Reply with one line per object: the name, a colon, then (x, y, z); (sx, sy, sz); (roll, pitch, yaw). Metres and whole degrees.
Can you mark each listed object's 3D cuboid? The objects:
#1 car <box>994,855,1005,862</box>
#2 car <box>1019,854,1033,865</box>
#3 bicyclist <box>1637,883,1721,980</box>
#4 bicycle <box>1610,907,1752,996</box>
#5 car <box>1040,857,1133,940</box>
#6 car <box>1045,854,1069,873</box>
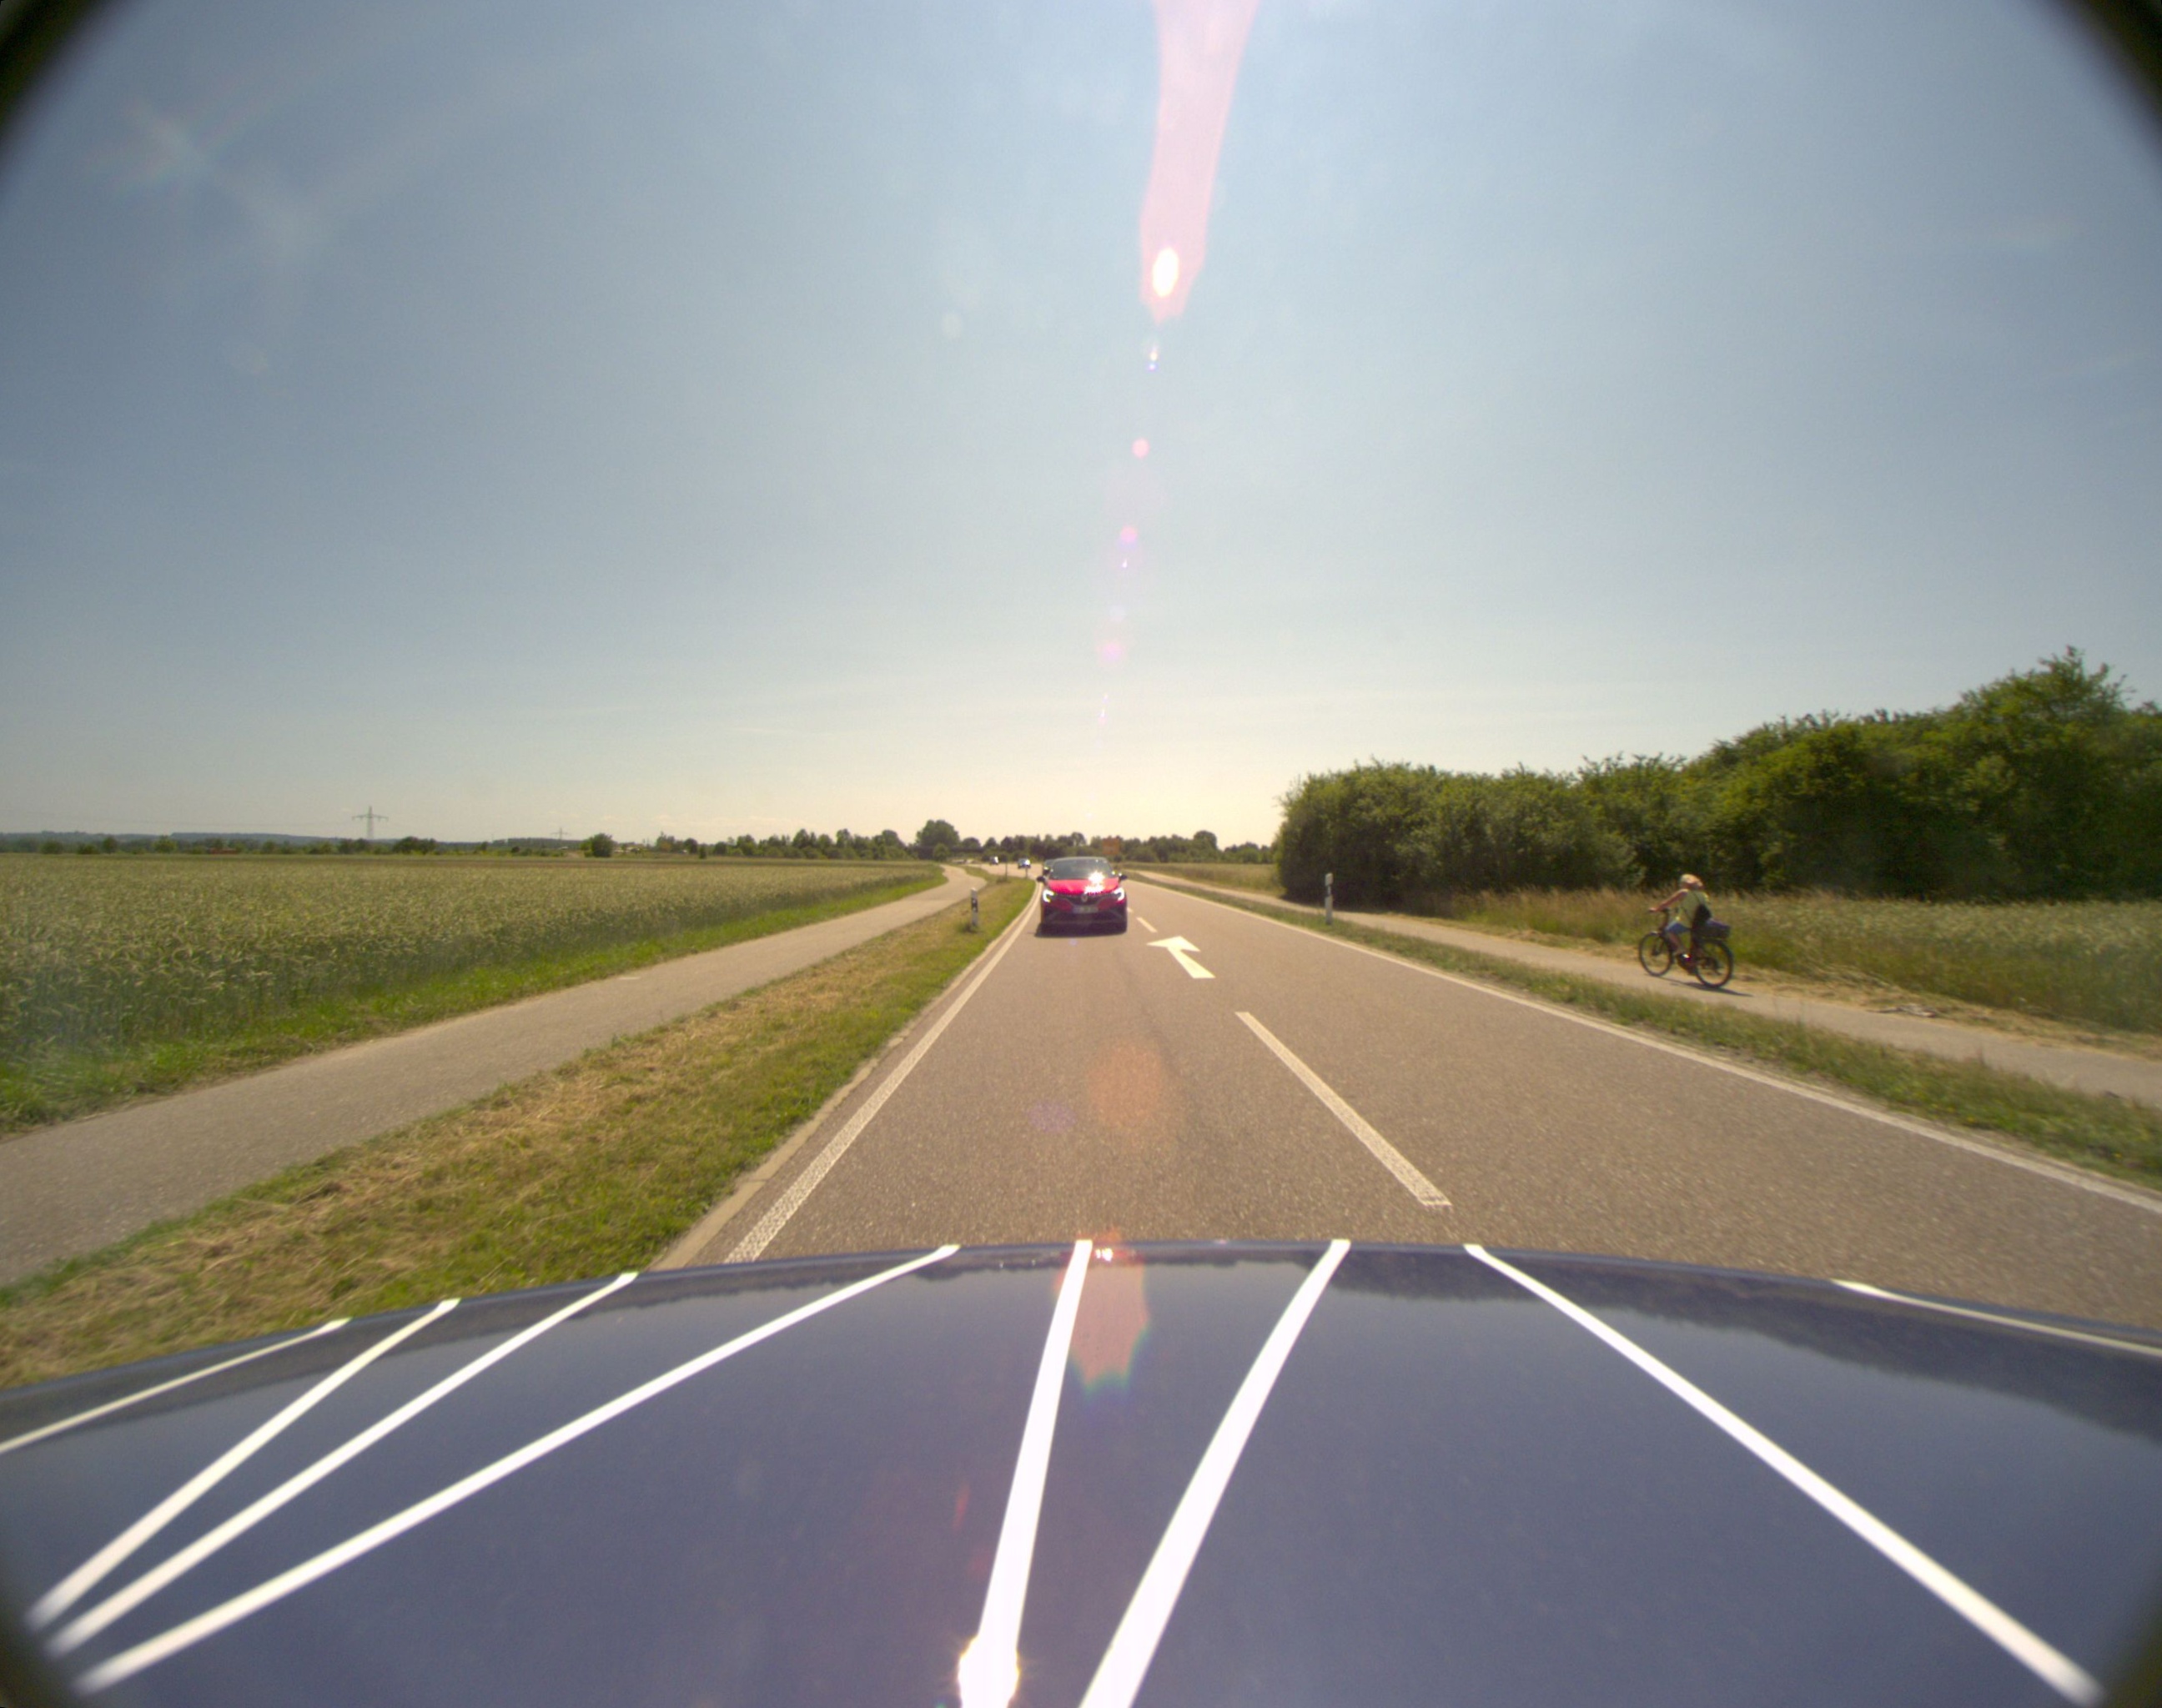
car: (-18.221, 0.933, 169.173); (1.985, 1.587, 5.396); (-1, 0, -11)
car: (-8.555, 0.867, 117.382); (1.984, 1.587, 5.398); (-1, 0, -7)
bicyclist: (9.398, 1.191, 11.967); (0.665, 1.430, 0.822); (-1, 1, -1)
bicycle: (9.405, 1.485, 12.030); (0.696, 1.169, 1.963); (1, 0, 0)
car: (0.024, 0.898, 17.518); (1.837, 1.587, 4.721); (-1, 0, -2)
car: (-2.202, 0.835, 68.395); (1.983, 1.587, 5.400); (-1, 0, -3)
